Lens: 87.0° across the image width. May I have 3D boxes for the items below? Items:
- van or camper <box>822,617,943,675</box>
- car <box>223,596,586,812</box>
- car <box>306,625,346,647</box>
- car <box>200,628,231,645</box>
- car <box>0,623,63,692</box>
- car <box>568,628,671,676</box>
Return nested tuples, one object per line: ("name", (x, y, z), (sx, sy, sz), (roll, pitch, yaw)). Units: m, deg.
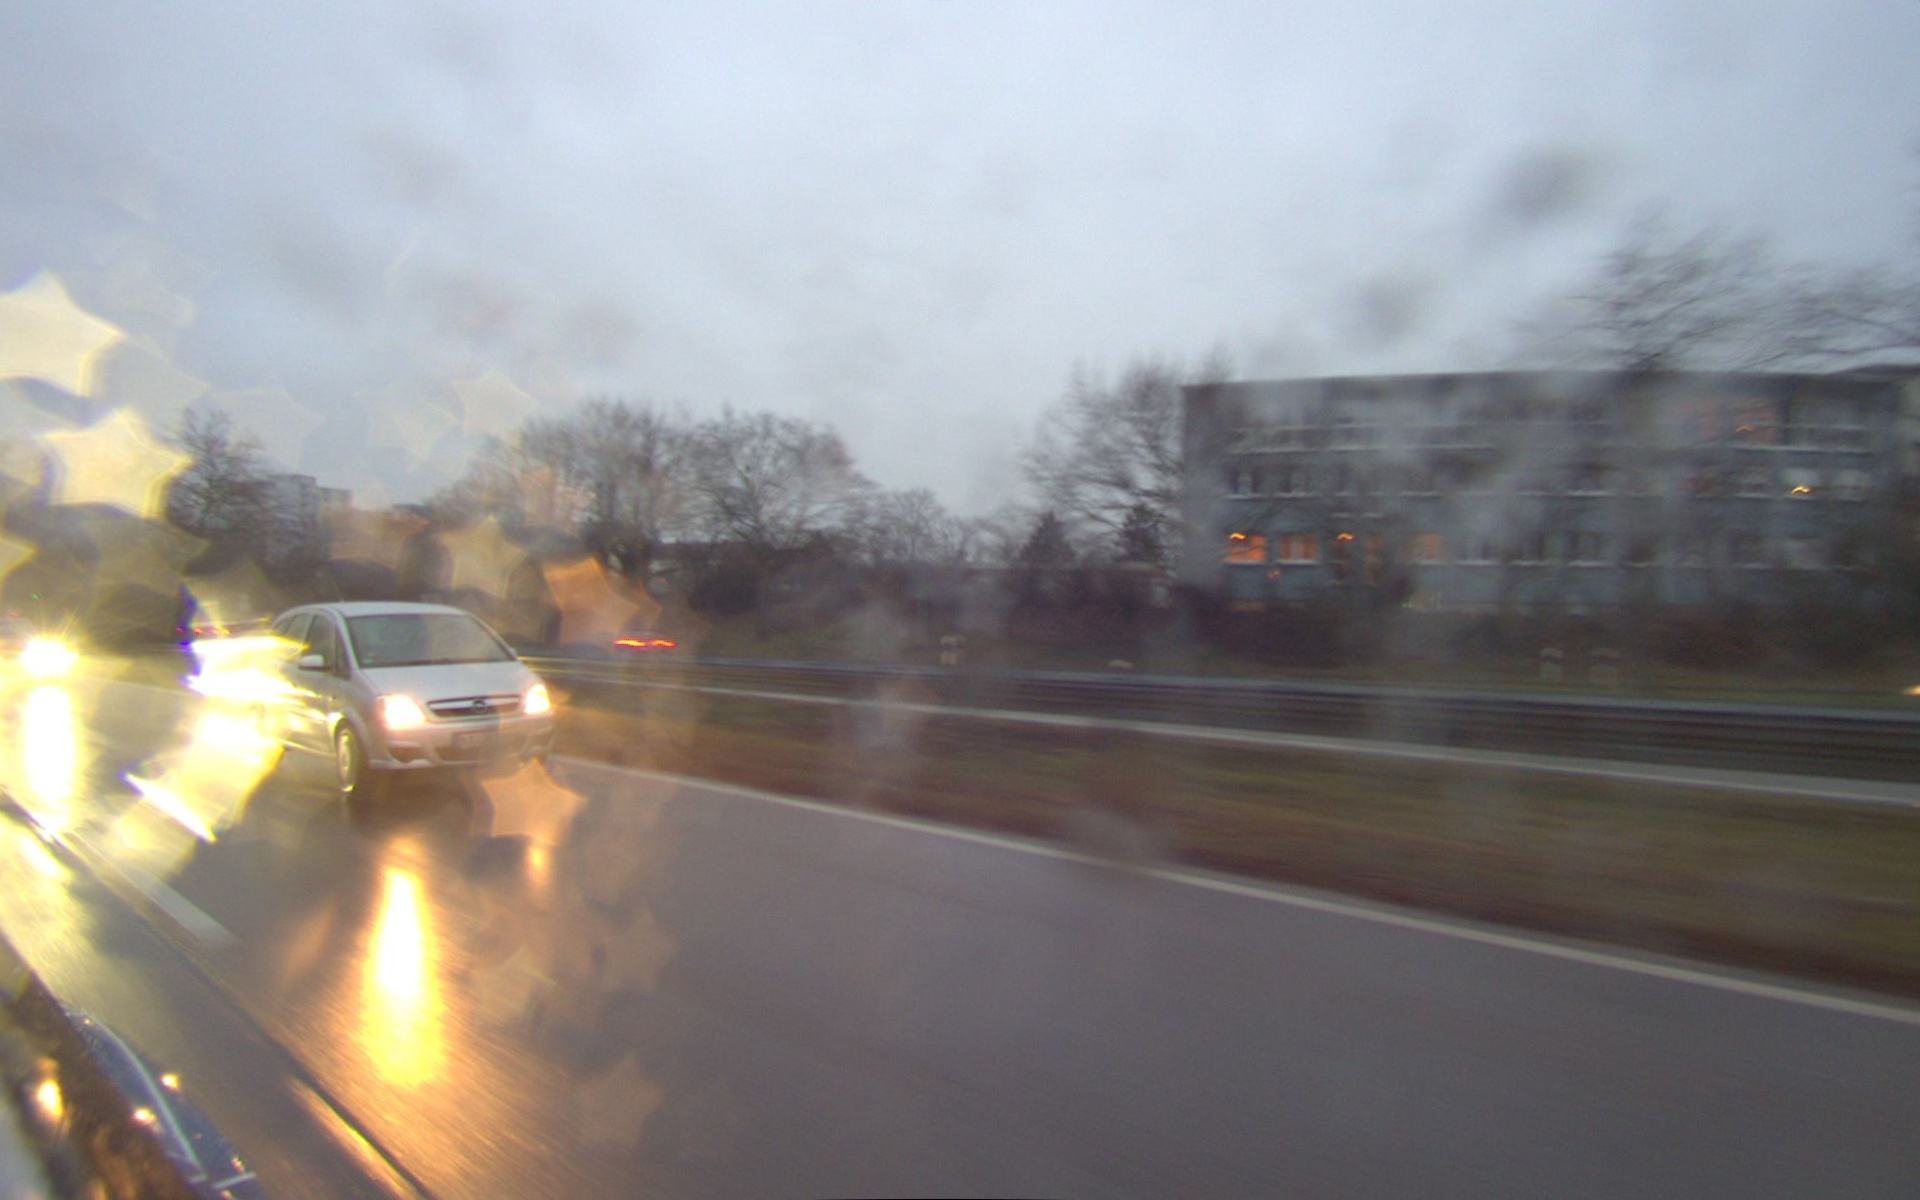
("van or camper", (-2.637, 1.479, 33.805), (4.209, 1.797, 1.630), (-1, -1, 44))
("car", (-5.413, 0.808, 9.620), (4.164, 1.611, 1.742), (-1, -1, 42))
("car", (-49.330, 2.807, 78.704), (1.762, 1.621, 4.686), (1, -1, -44))
("car", (-71.726, 3.467, 97.429), (4.598, 1.577, 1.630), (-1, -1, 44))
("car", (-23.371, 1.347, 24.460), (4.143, 1.542, 2.001), (-1, -1, 41))
("car", (-12.043, 1.797, 35.673), (4.053, 1.545, 1.763), (-1, -1, 44))
